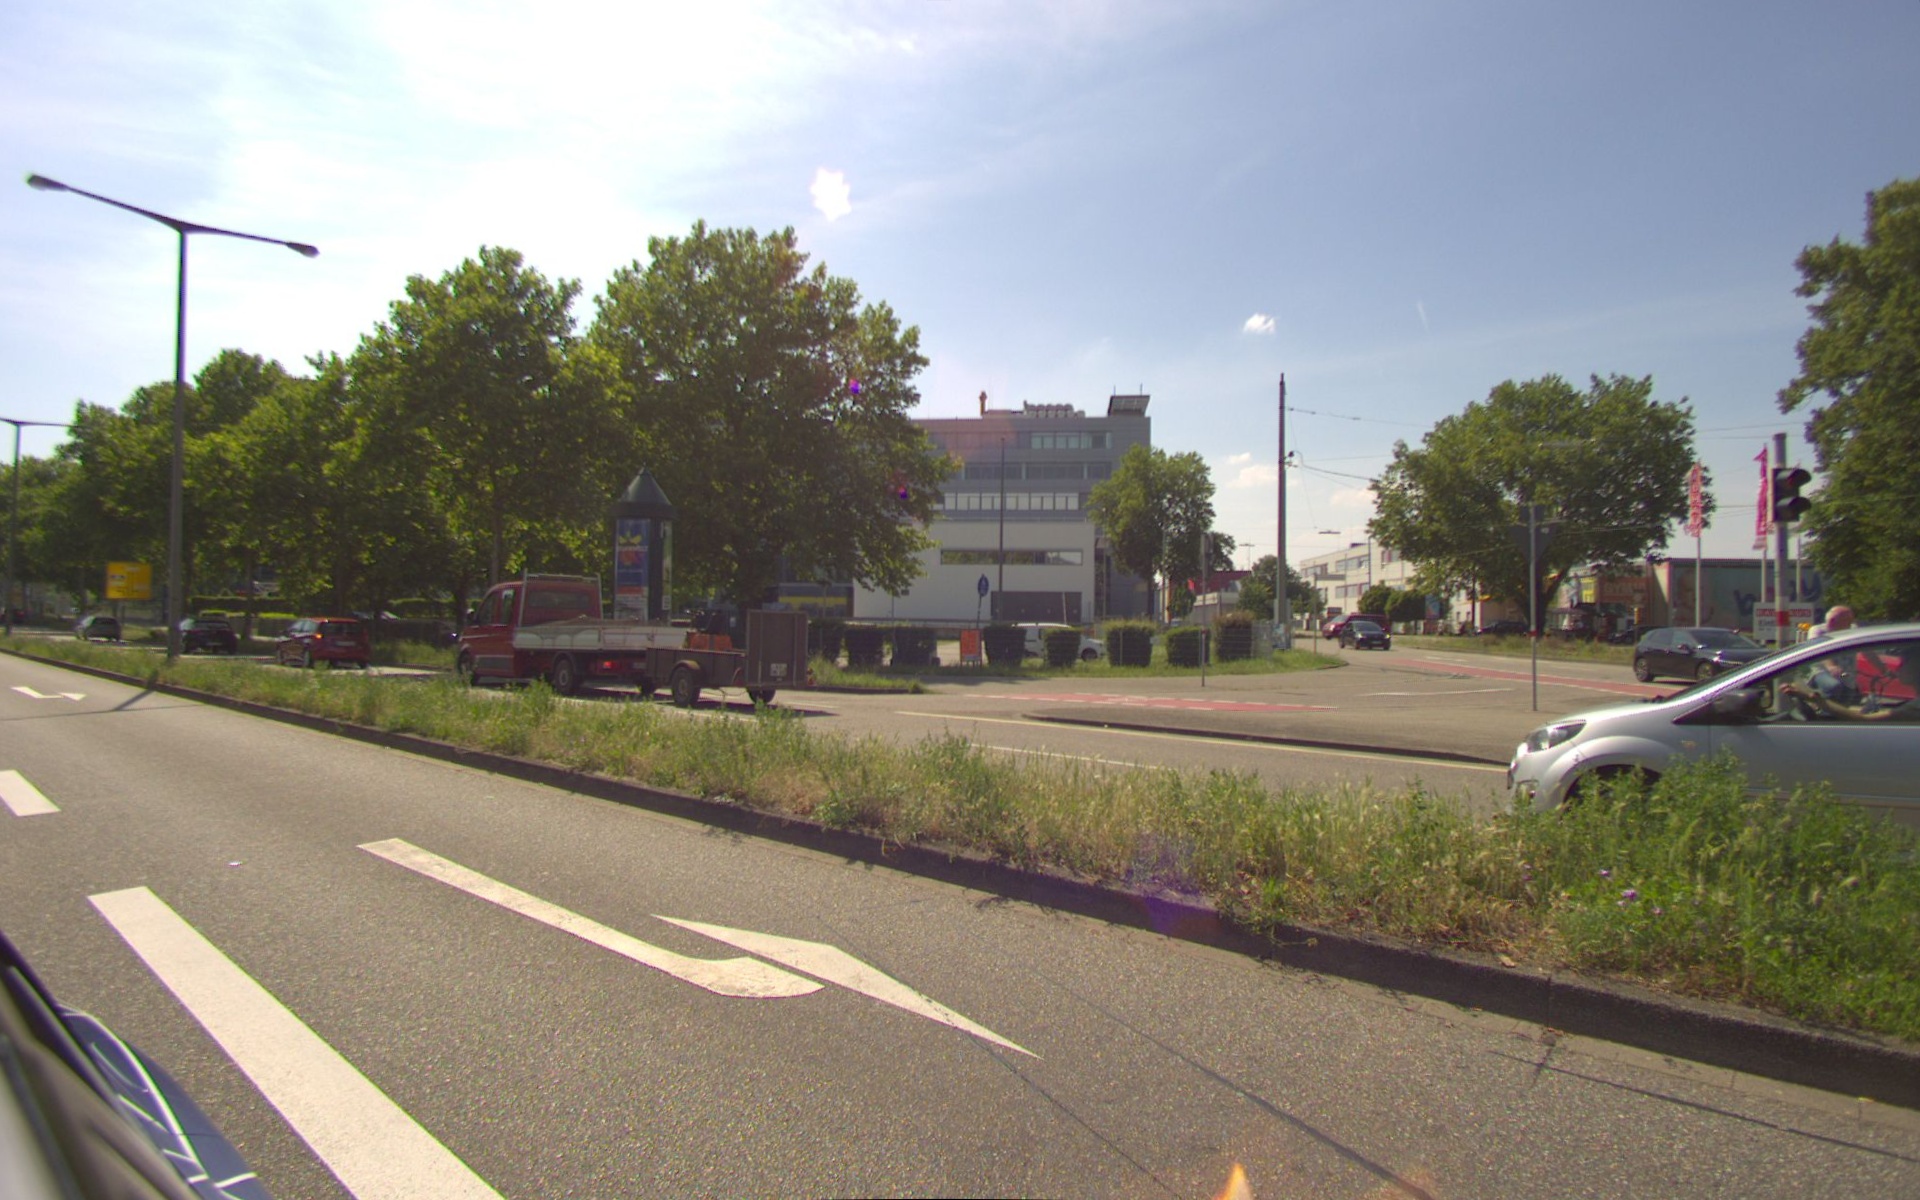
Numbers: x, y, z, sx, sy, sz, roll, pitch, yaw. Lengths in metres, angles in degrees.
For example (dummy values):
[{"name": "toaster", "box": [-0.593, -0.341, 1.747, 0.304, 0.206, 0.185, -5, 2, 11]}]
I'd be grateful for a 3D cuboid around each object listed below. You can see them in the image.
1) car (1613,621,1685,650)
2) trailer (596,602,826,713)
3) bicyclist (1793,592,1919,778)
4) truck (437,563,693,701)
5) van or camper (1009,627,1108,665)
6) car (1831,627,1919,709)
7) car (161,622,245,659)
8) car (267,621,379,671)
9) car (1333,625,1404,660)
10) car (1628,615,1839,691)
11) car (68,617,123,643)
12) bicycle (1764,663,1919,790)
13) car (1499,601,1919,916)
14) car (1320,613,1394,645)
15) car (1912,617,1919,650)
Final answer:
[{"name": "car", "box": [50.539, 2.578, 74.289, 3.973, 2.029, 1.985, 0, -2, 22]}, {"name": "trailer", "box": [-4.449, 0.938, 17.813, 3.989, 1.729, 2.040, -1, -2, 42]}, {"name": "bicyclist", "box": [9.074, 0.833, 10.235, 0.698, 1.802, 0.765, 0, -2, 12]}, {"name": "truck", "box": [-8.620, 0.645, 21.565, 7.127, 2.494, 2.117, -1, -2, 42]}, {"name": "van or camper", "box": [4.497, 2.118, 46.760, 4.453, 1.705, 1.998, 0, -1, 4]}, {"name": "car", "box": [18.000, 1.221, 17.955, 1.824, 1.460, 3.993, 0, -2, 5]}, {"name": "car", "box": [-31.518, 1.666, 42.109, 3.889, 1.433, 1.822, 0, -2, 38]}, {"name": "car", "box": [-19.505, 1.417, 30.954, 3.764, 1.445, 1.829, -2, -4, 40]}, {"name": "car", "box": [21.028, 2.175, 52.277, 1.972, 1.712, 4.000, 0, -2, -1]}, {"name": "car", "box": [18.729, 1.246, 24.788, 1.971, 1.712, 4.001, 0, -2, -2]}, {"name": "car", "box": [-51.973, 1.795, 60.835, 4.219, 1.433, 1.820, -1, -4, 41]}, {"name": "bicycle", "box": [9.064, 1.212, 10.237, 0.520, 1.072, 2.157, 0, -1, 11]}, {"name": "car", "box": [5.199, 0.781, 5.505, 3.734, 1.525, 1.632, -1, -2, 41]}, {"name": "car", "box": [29.665, 2.161, 75.682, 4.954, 2.295, 2.159, 1, -2, -21]}, {"name": "car", "box": [69.501, 2.354, 69.968, 4.981, 2.295, 2.147, 0, -2, 7]}]
